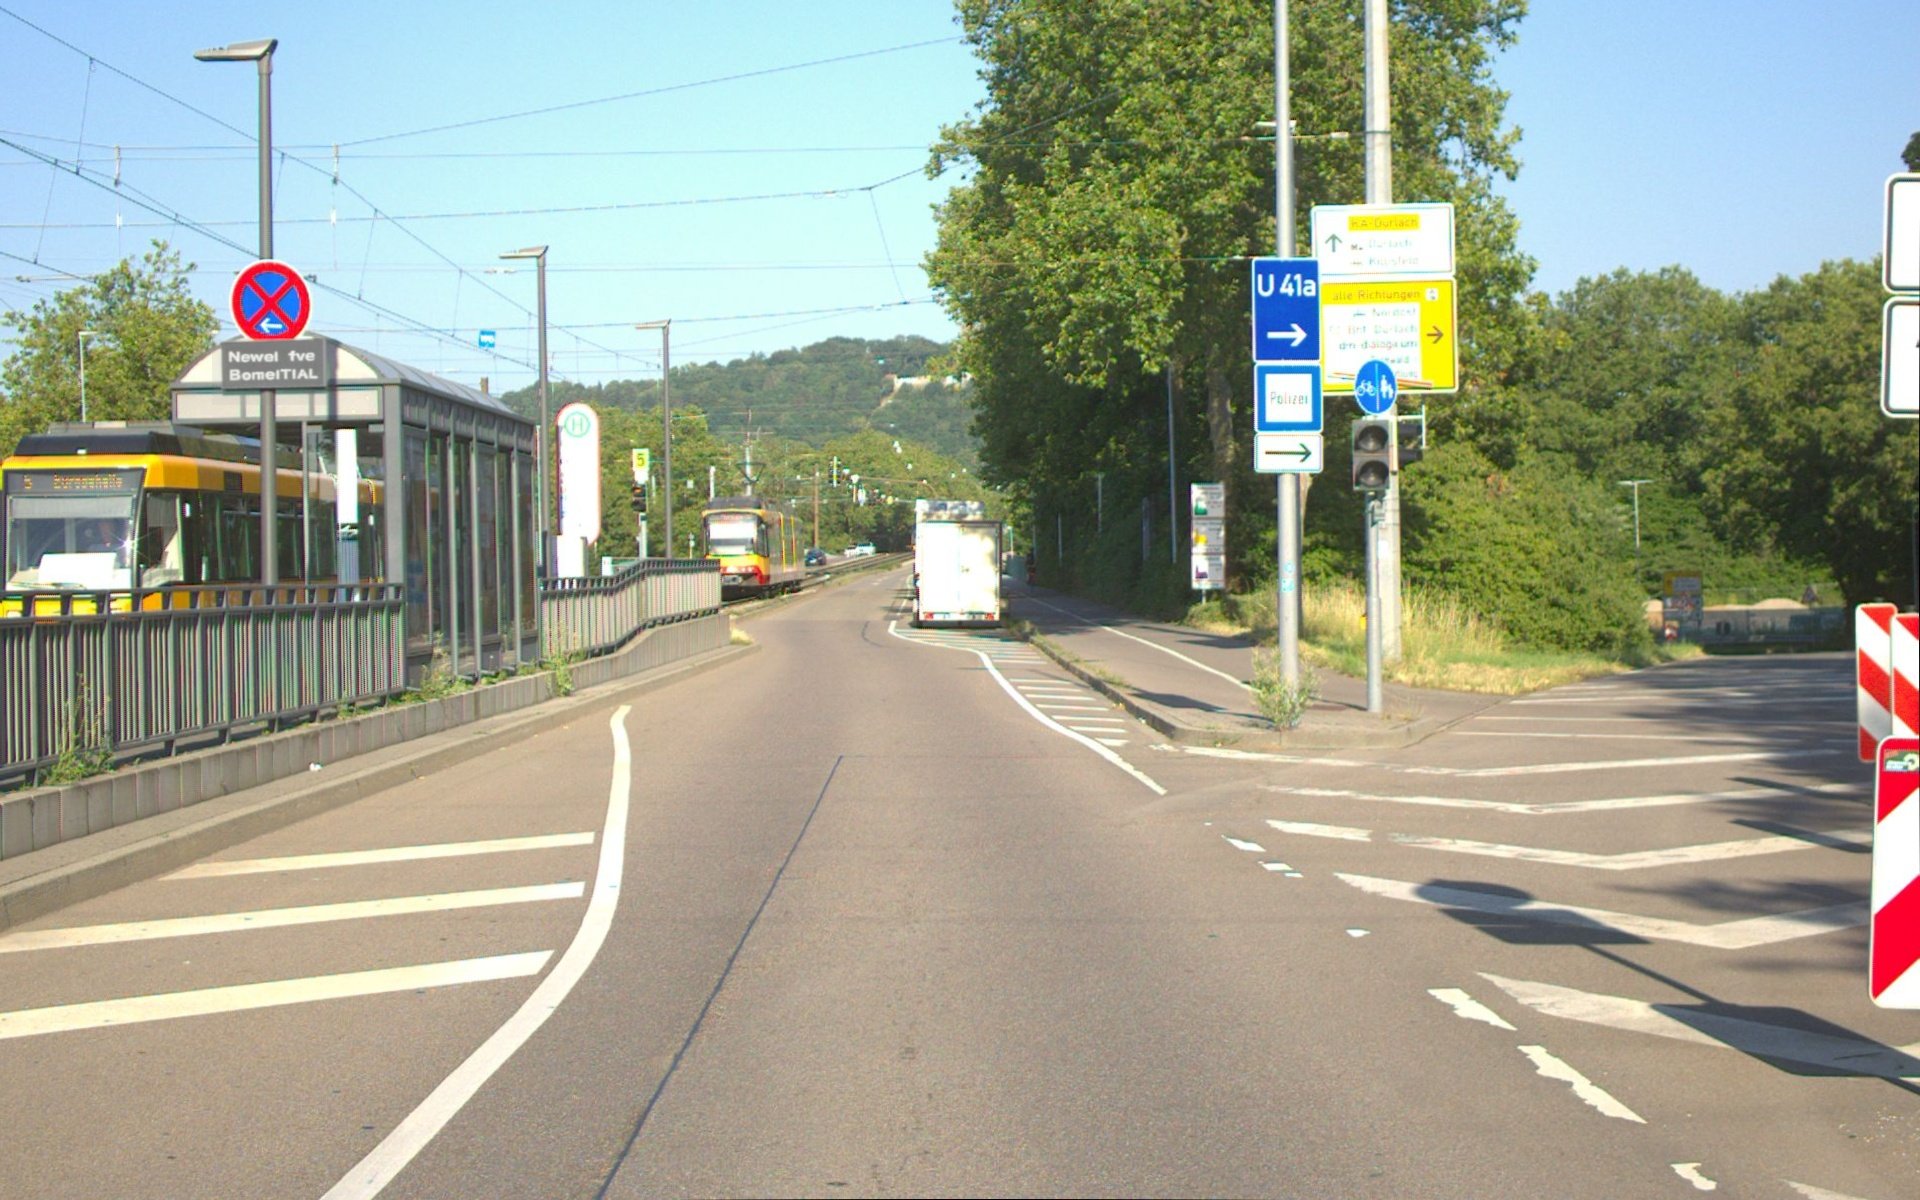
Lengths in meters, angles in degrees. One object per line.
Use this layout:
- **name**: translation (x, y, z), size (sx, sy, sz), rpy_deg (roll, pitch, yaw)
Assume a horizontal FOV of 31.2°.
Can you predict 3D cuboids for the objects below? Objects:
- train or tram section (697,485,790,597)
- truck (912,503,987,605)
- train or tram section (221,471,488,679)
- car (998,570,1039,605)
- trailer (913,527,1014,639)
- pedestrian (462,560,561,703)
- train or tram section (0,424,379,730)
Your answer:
- **train or tram section**: translation (-8.395, -2.292, 134.737), size (2.721, 4.077, 13.616), rpy_deg (-2, 1, 0)
- **truck**: translation (-0.464, -1.794, 133.625), size (2.742, 3.770, 10.090), rpy_deg (1, 1, -1)
- **train or tram section**: translation (-11.619, -0.501, 67.385), size (2.827, 3.674, 12.968), rpy_deg (0, 0, 1)
- **car**: translation (2.432, -0.542, 143.005), size (1.653, 1.432, 3.777), rpy_deg (0, 0, 1)
- **trailer**: translation (0.126, -0.445, 85.653), size (2.251, 2.685, 5.946), rpy_deg (0, 1, 3)
- **pedestrian**: translation (-4.701, 0.321, 36.057), size (0.761, 1.488, 0.693), rpy_deg (0, 0, 33)
- **train or tram section**: translation (-11.791, -0.372, 52.973), size (2.827, 3.992, 15.875), rpy_deg (0, 0, 1)
